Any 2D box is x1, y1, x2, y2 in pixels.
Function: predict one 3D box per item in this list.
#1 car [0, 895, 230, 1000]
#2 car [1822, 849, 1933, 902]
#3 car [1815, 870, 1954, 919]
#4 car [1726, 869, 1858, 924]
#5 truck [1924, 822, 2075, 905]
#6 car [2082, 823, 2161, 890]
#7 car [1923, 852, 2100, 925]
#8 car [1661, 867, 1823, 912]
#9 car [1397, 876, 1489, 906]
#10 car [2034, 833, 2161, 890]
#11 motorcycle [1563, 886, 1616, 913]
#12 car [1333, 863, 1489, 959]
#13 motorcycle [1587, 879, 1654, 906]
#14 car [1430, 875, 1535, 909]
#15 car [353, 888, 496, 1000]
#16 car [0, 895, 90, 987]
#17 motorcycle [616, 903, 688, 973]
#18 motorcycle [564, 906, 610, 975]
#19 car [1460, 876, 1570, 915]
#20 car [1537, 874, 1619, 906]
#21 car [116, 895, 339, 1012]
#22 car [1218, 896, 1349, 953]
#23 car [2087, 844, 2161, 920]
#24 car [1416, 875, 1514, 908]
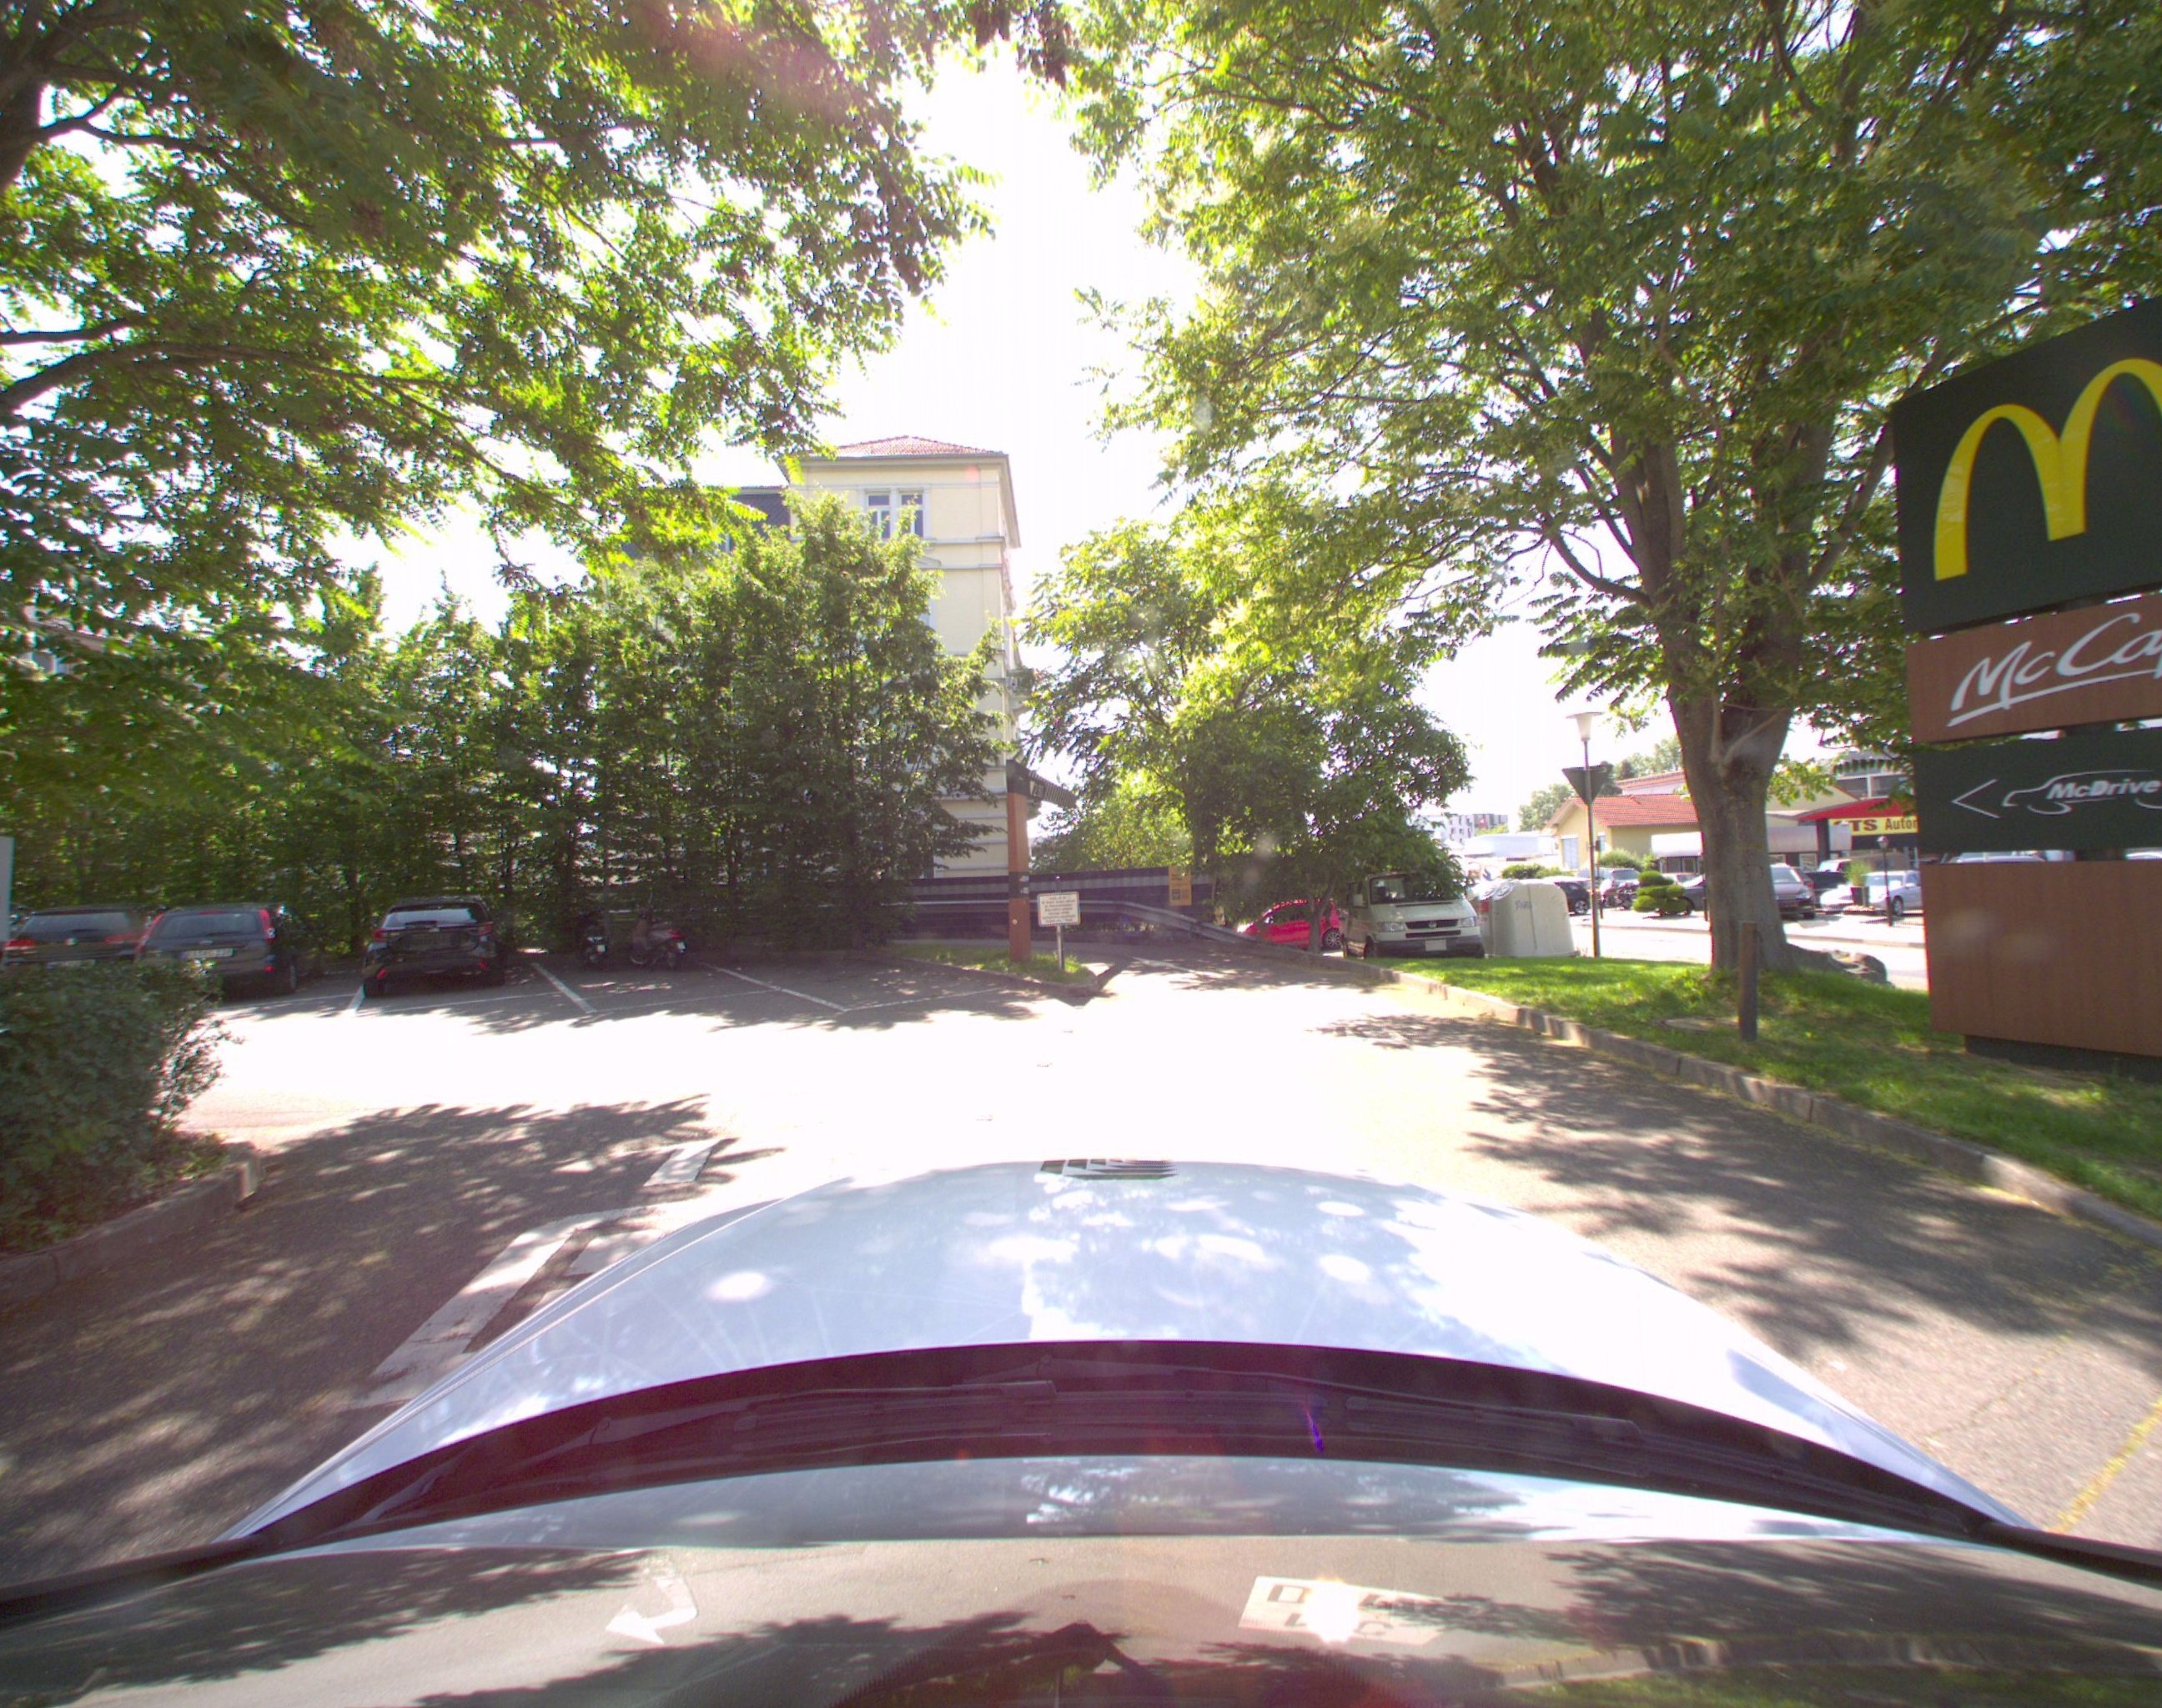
[{"bbox_3d":[-17.790,1.605,15.118,1.780,1.470,3.960,-2,0,-32],"label":"car"},{"bbox_3d":[32.645,0.872,33.359,4.508,2.014,1.981,0,-2,-29],"label":"car"},{"bbox_3d":[26.689,1.310,27.051,4.002,1.487,1.781,0,-2,-21],"label":"car"},{"bbox_3d":[21.377,1.226,24.474,4.012,1.510,1.776,0,-2,-30],"label":"car"},{"bbox_3d":[34.714,0.341,30.758,5.955,2.904,2.256,0,-1,-27],"label":"truck"},{"bbox_3d":[39.087,0.096,29.952,4.726,2.285,2.121,0,-2,-31],"label":"car"},{"bbox_3d":[22.784,0.821,20.169,2.027,1.595,4.451,-2,-2,38],"label":"car"},{"bbox_3d":[24.609,1.332,30.528,4.282,1.585,2.011,-1,-2,23],"label":"car"},{"bbox_3d":[21.344,2.163,48.103,4.634,1.726,1.995,0,-2,-7],"label":"car"},{"bbox_3d":[33.797,0.237,26.994,4.734,1.738,1.866,0,-1,-28],"label":"car"},{"bbox_3d":[22.980,2.056,36.851,1.856,1.159,0.792,-1,-2,12],"label":"motorcycle"},{"bbox_3d":[6.249,0.984,16.060,1.939,1.583,5.047,-1,-1,11],"label":"car"},{"bbox_3d":[25.819,1.841,38.989,2.708,1.227,0.996,0,-2,-8],"label":"motorcycle"},{"bbox_3d":[21.178,2.009,43.013,4.634,1.726,1.995,0,-2,-7],"label":"car"},{"bbox_3d":[-11.079,1.397,13.927,1.668,1.470,3.861,-2,0,-37],"label":"car"},{"bbox_3d":[-20.789,1.633,15.206,1.781,1.572,3.958,-1,-1,-33],"label":"car"},{"bbox_3d":[-7.718,1.482,14.621,1.585,1.169,0.573,-3,-2,40],"label":"motorcycle"},{"bbox_3d":[-9.086,1.556,14.950,0.477,1.141,1.586,-1,-2,-40],"label":"motorcycle"},{"bbox_3d":[19.978,1.907,37.600,3.974,1.706,1.999,-1,-2,-1],"label":"car"},{"bbox_3d":[26.089,1.885,42.910,1.986,1.585,4.002,-1,-2,2],"label":"car"},{"bbox_3d":[-13.975,1.511,13.616,1.711,1.453,3.958,-2,0,-34],"label":"car"},{"bbox_3d":[5.804,2.020,23.575,3.391,1.379,1.487,-2,0,1],"label":"car"},{"bbox_3d":[25.568,0.626,18.441,1.975,1.726,4.023,-2,-2,27],"label":"car"},{"bbox_3d":[21.494,2.087,45.685,4.634,1.726,1.995,0,-2,-7],"label":"car"}]
